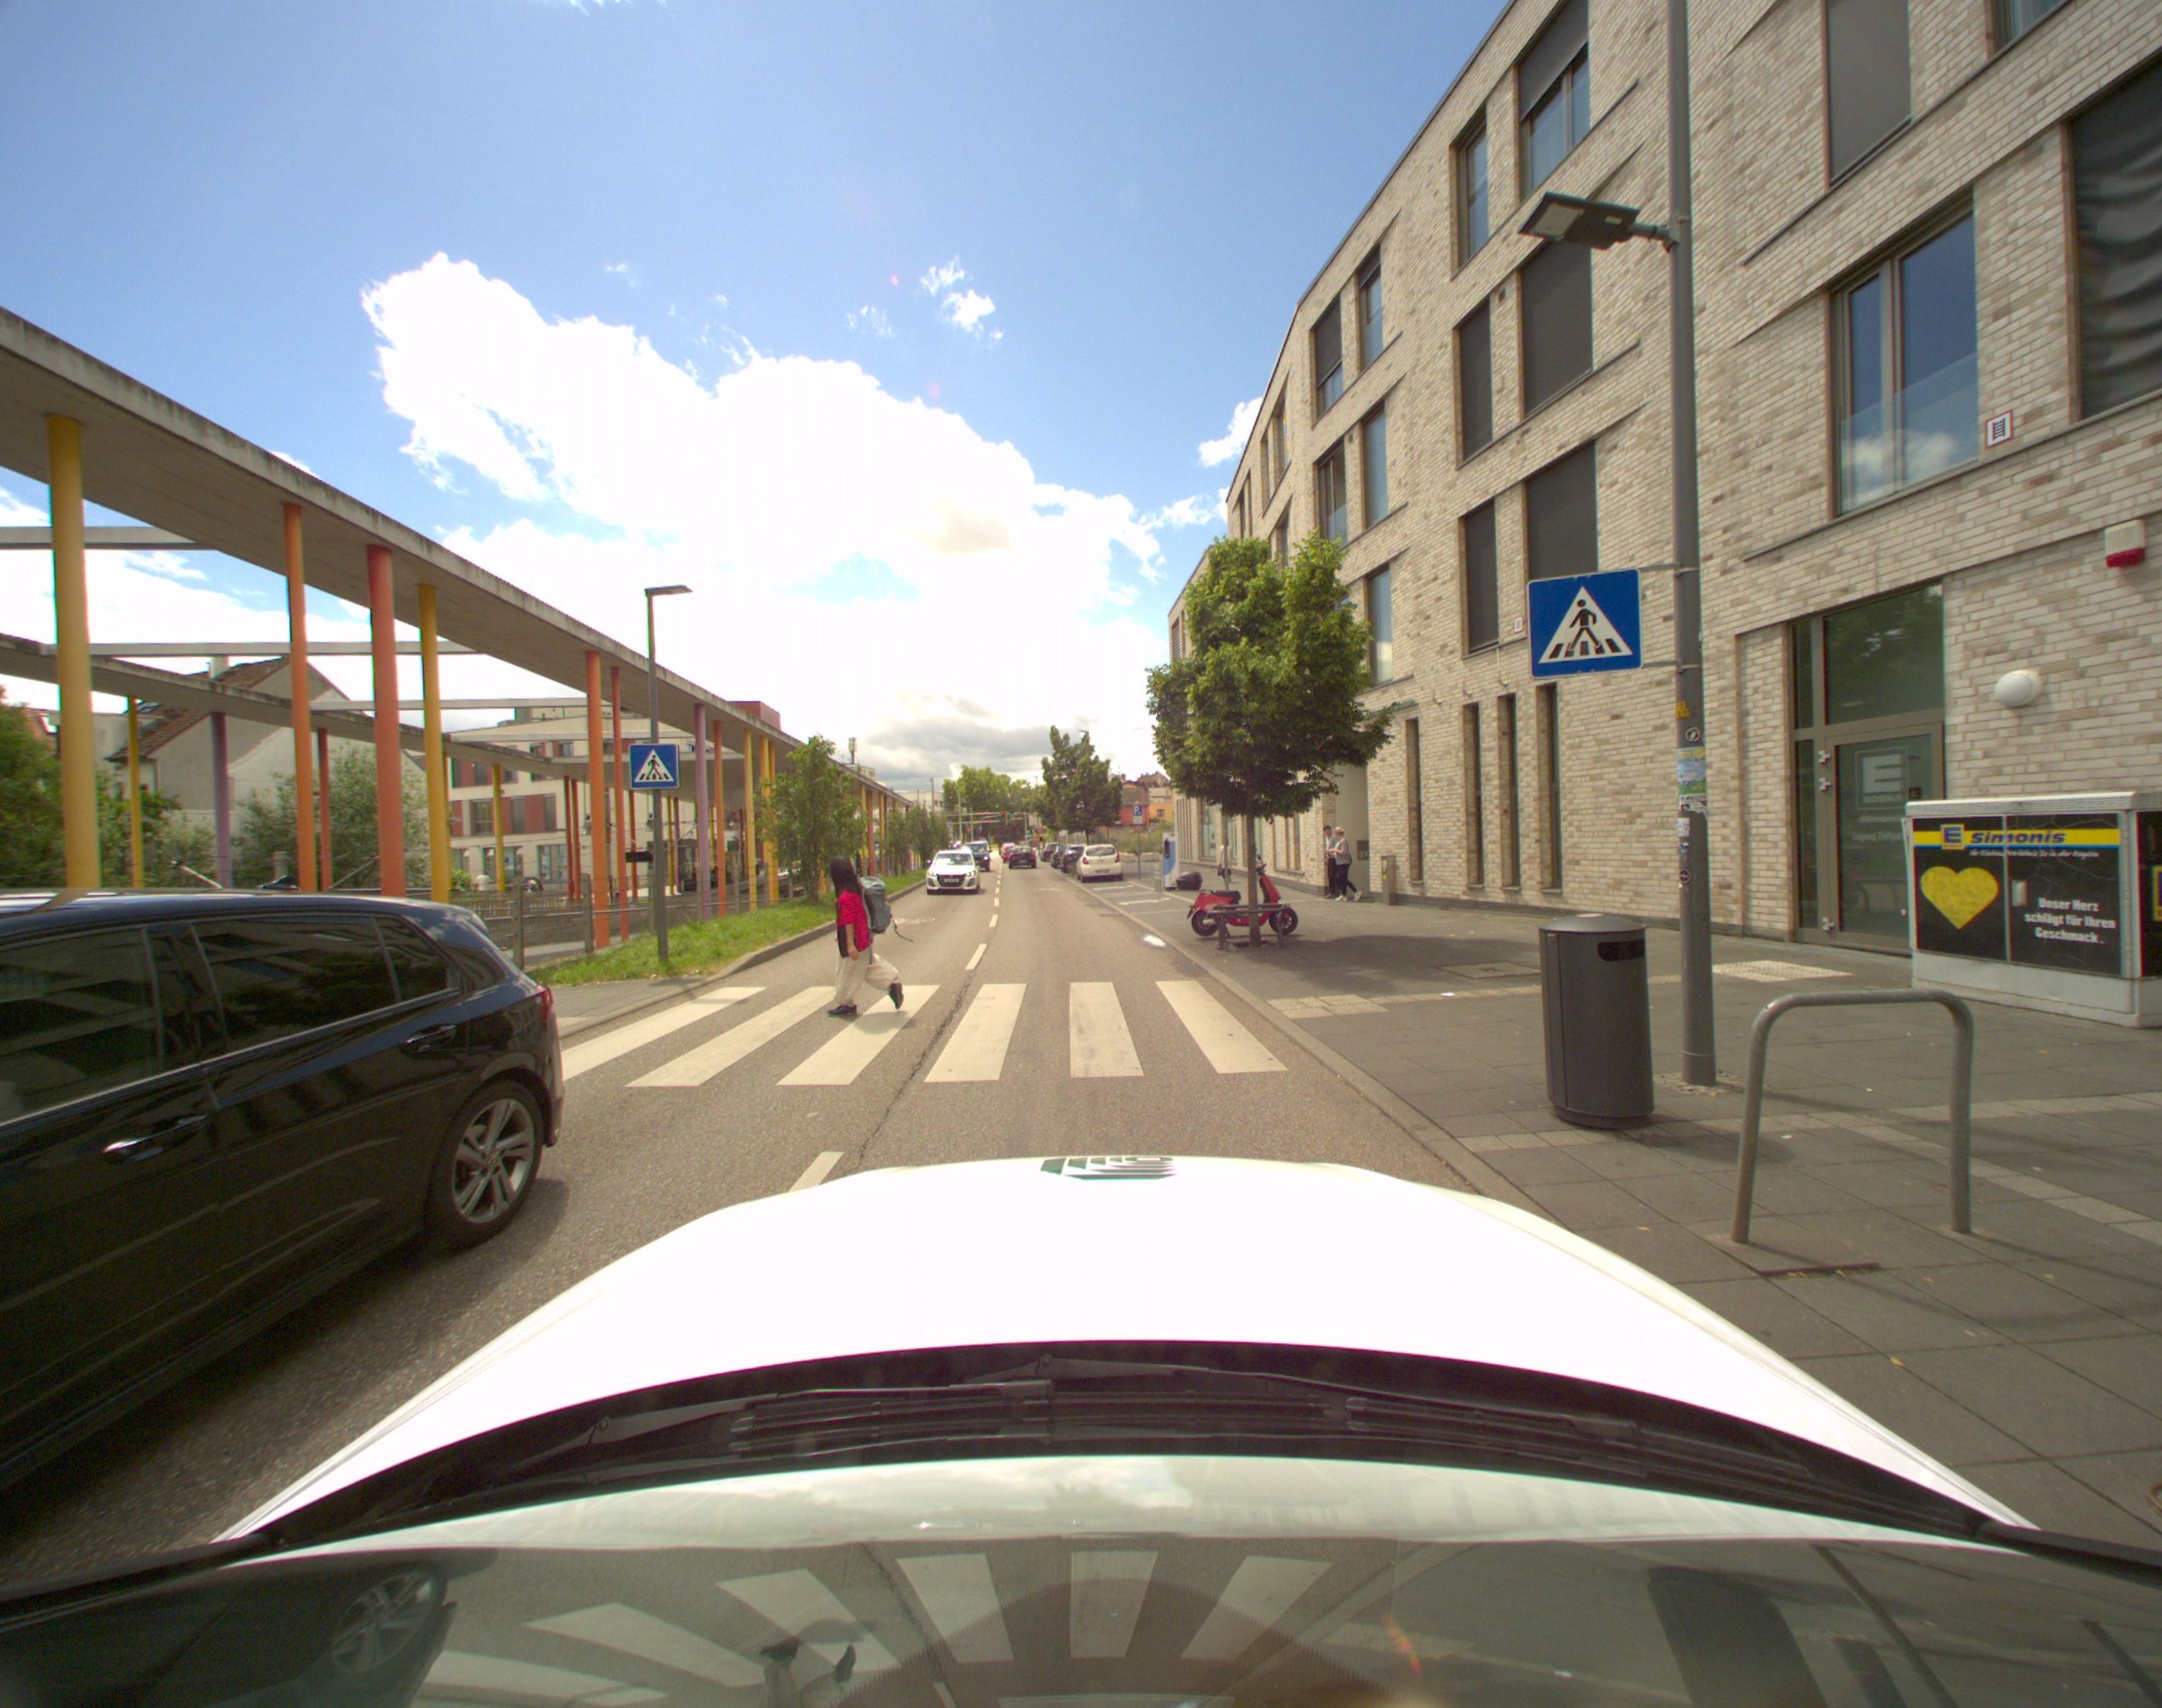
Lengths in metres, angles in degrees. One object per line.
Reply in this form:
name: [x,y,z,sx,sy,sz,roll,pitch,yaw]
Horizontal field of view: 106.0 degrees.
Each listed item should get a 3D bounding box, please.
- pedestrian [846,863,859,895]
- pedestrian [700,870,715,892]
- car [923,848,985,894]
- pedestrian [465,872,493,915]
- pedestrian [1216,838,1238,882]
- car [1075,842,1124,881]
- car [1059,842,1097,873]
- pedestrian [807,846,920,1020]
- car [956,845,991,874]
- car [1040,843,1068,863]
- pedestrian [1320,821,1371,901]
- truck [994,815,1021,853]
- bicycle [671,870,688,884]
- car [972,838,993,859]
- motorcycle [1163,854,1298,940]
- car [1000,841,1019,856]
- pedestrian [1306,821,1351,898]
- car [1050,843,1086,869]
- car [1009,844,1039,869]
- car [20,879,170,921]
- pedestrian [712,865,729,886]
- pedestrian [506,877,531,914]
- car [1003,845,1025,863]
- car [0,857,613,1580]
pedestrian: [-13.196,1.442,47.064,0.585,1.830,0.709,-1,-1,-4]
pedestrian: [-24.504,1.769,53.448,0.650,1.379,0.701,-1,1,-5]
car: [-4.361,0.530,28.422,1.808,1.469,3.902,-1,0,-4]
pedestrian: [-26.630,1.749,36.038,0.641,1.883,0.798,-1,-1,-5]
pedestrian: [5.030,0.188,28.078,0.605,1.472,0.791,-3,1,3]
car: [0.728,0.275,34.275,1.689,1.483,3.793,-3,1,-3]
car: [-0.199,0.164,43.673,1.689,1.461,4.141,-3,1,-4]
pedestrian: [-2.060,0.721,7.825,0.926,1.565,0.813,-1,-1,-7]
car: [-6.286,0.305,47.965,1.918,1.604,4.615,-1,0,-7]
car: [-2.169,-0.104,64.559,1.780,1.451,4.466,-4,1,-7]
pedestrian: [6.027,0.161,18.565,0.735,1.766,0.753,-2,-1,-19]
truck: [-9.399,-2.421,103.395,3.200,4.536,9.007,-1,-1,-7]
bicycle: [-28.758,1.668,58.409,0.482,0.963,1.611,-1,-1,-3]
car: [-9.705,-0.560,80.154,2.002,1.917,5.052,-1,0,-7]
motorcycle: [2.452,0.701,13.359,2.036,1.266,0.675,-4,-1,12]
car: [-7.713,-0.591,87.669,1.886,1.465,4.060,-3,0,-6]
pedestrian: [5.855,0.123,19.299,0.736,1.766,0.621,-3,-1,-12]
car: [-0.855,0.096,50.065,1.862,1.451,4.635,-3,1,-5]
car: [-3.659,0.115,51.935,1.724,1.456,3.802,-3,1,-5]
car: [-34.877,1.618,28.852,3.963,1.401,1.574,-1,-1,9]
pedestrian: [-24.621,1.478,55.637,0.821,1.379,0.701,-1,1,-5]
pedestrian: [-25.283,1.854,36.643,0.641,1.662,0.729,-1,-1,-6]
car: [-5.659,-0.044,68.590,1.710,1.393,3.800,-3,1,-6]
car: [-3.120,0.770,1.850,1.768,1.464,4.231,-1,0,-2]
